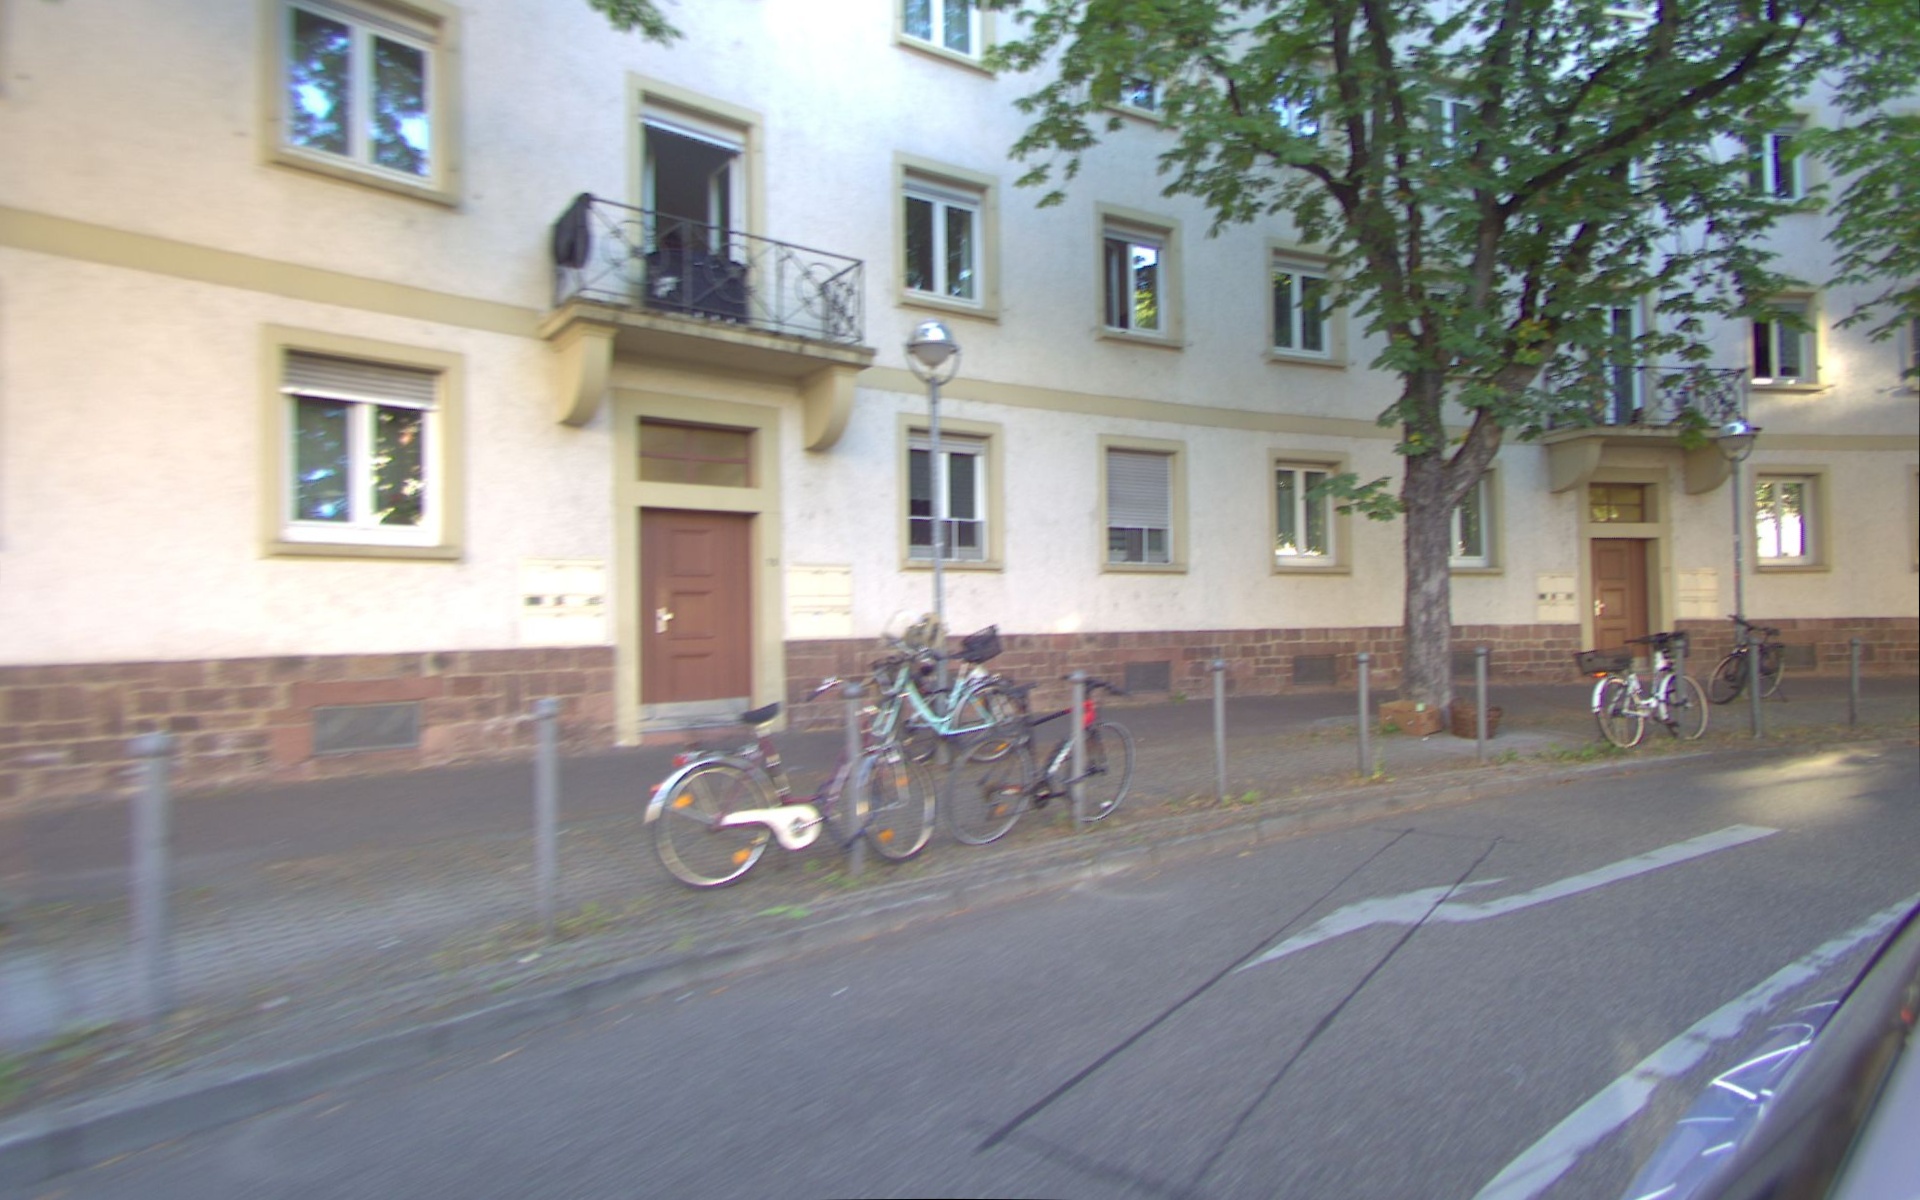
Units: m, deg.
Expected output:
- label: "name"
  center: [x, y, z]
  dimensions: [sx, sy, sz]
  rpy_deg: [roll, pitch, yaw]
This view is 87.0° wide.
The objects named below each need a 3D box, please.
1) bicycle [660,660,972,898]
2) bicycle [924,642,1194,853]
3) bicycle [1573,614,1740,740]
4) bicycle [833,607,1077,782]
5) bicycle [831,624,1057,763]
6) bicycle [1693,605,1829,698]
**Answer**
- label: "bicycle"
  center: [-0.755, 0.901, 5.496]
  dimensions: [1.602, 1.077, 0.482]
  rpy_deg: [0, 1, -29]
- label: "bicycle"
  center: [0.649, 0.859, 6.387]
  dimensions: [1.706, 1.121, 0.528]
  rpy_deg: [0, 1, -31]
- label: "bicycle"
  center: [6.945, 0.724, 10.070]
  dimensions: [1.934, 1.109, 0.515]
  rpy_deg: [-1, 1, -27]
- label: "bicycle"
  center: [-0.027, 0.719, 8.449]
  dimensions: [1.927, 1.293, 0.720]
  rpy_deg: [-1, 0, -28]
- label: "bicycle"
  center: [-0.130, 0.795, 9.155]
  dimensions: [1.926, 1.121, 0.670]
  rpy_deg: [-1, -1, -26]
- label: "bicycle"
  center: [10.607, 0.644, 13.385]
  dimensions: [1.821, 1.133, 0.803]
  rpy_deg: [0, -1, -31]
